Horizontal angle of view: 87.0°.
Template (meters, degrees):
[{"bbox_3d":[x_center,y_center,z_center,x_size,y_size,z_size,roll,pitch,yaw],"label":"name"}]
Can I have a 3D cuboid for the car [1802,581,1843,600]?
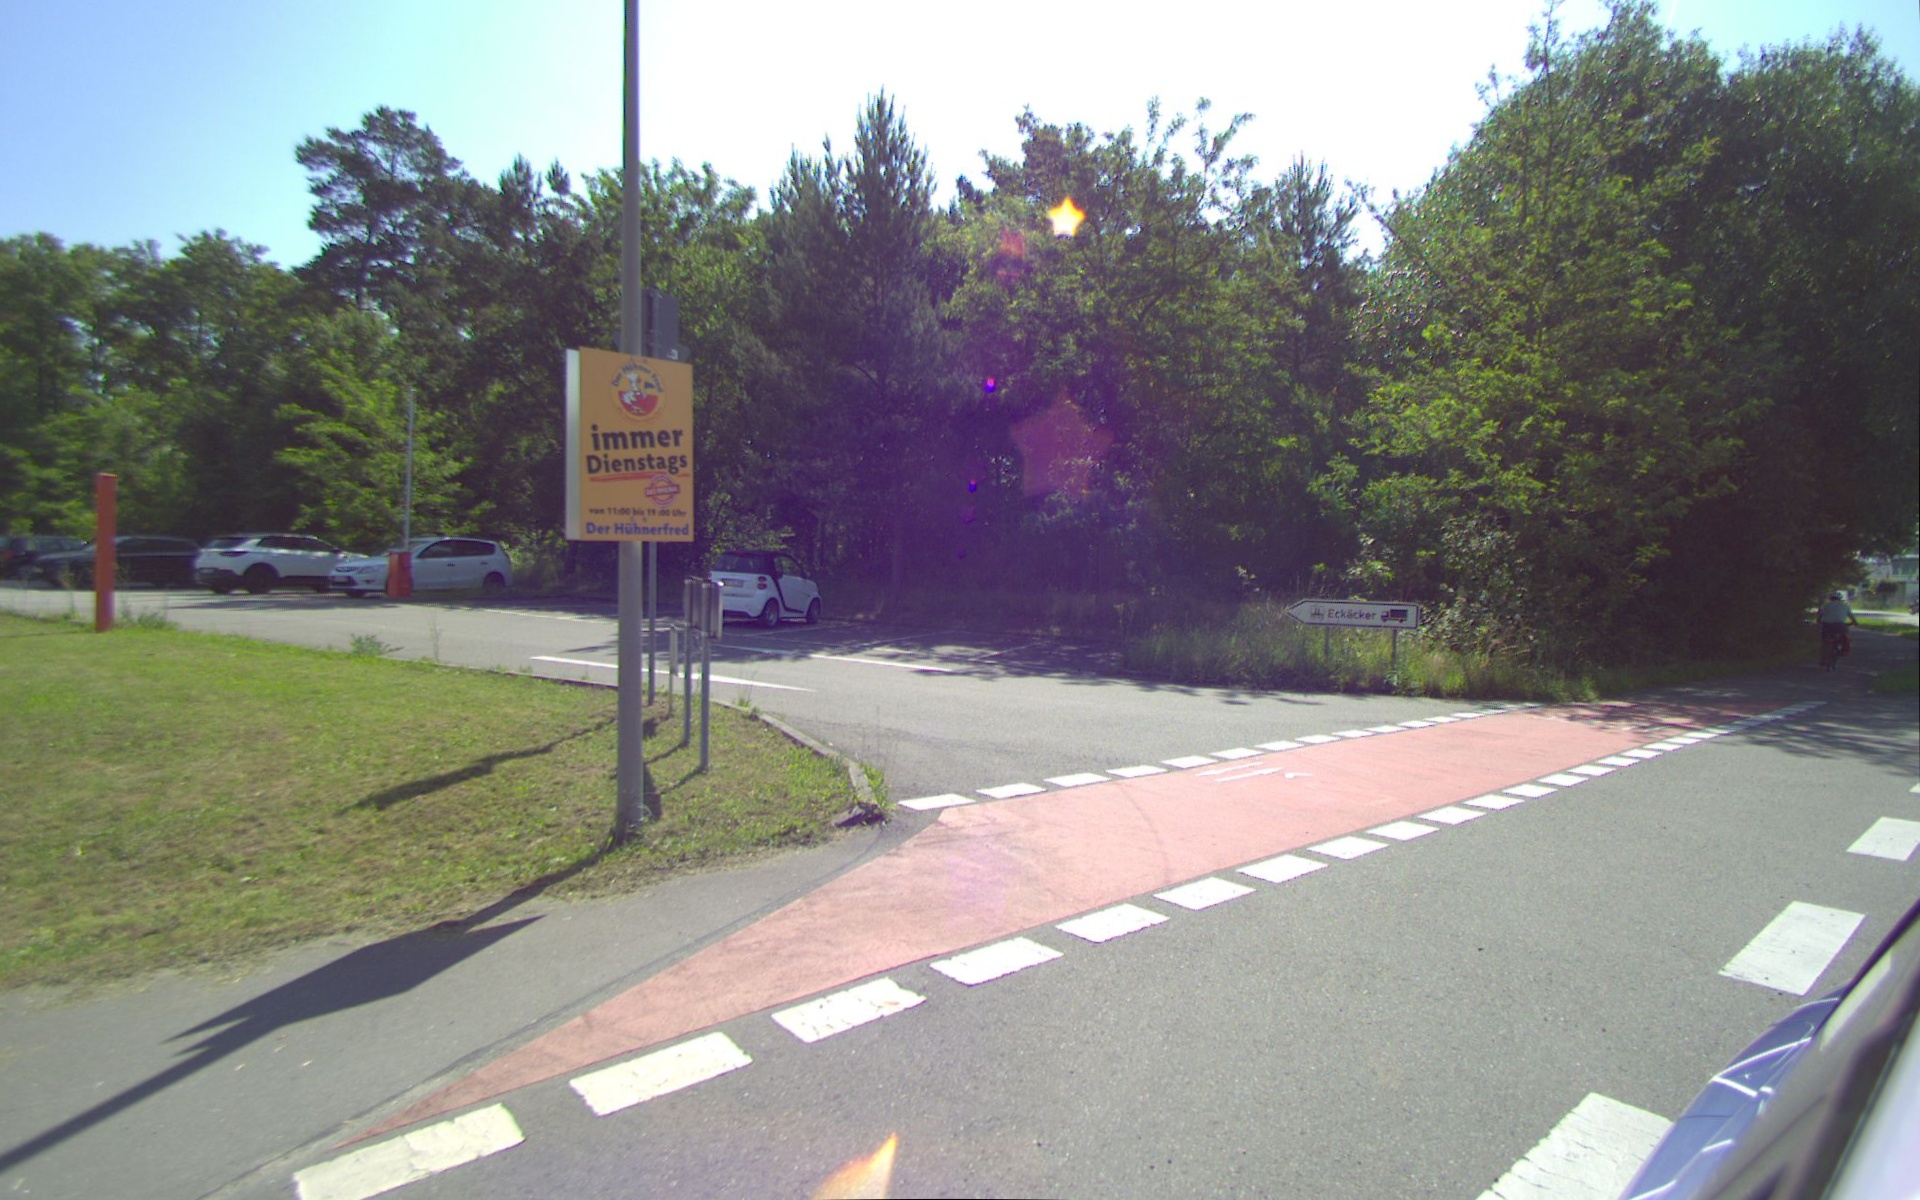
[{"bbox_3d":[81.398,-0.885,95.569,1.808,1.660,3.809,2,2,22],"label":"car"}]

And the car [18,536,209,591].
[{"bbox_3d":[-25.386,-1.106,30.507,2.049,1.504,3.968,2,2,24],"label":"car"}]

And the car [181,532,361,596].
[{"bbox_3d":[-18.250,-0.950,26.977,1.740,1.549,3.637,2,2,23],"label":"car"}]

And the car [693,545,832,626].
[{"bbox_3d":[-4.087,-0.332,21.290,1.579,1.537,2.820,2,2,22],"label":"car"}]

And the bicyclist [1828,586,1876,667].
[{"bbox_3d":[19.750,0.563,22.408,0.961,1.752,0.638,0,0,-39],"label":"bicyclist"}]

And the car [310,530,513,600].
[{"bbox_3d":[-13.544,-0.870,25.289,1.740,1.549,4.341,2,2,23],"label":"car"}]

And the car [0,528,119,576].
[{"bbox_3d":[-30.578,-1.585,33.316,2.049,1.504,3.968,2,2,24],"label":"car"}]

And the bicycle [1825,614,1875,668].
[{"bbox_3d":[19.618,0.887,22.298,1.493,1.138,0.591,0,0,-39],"label":"bicycle"}]
